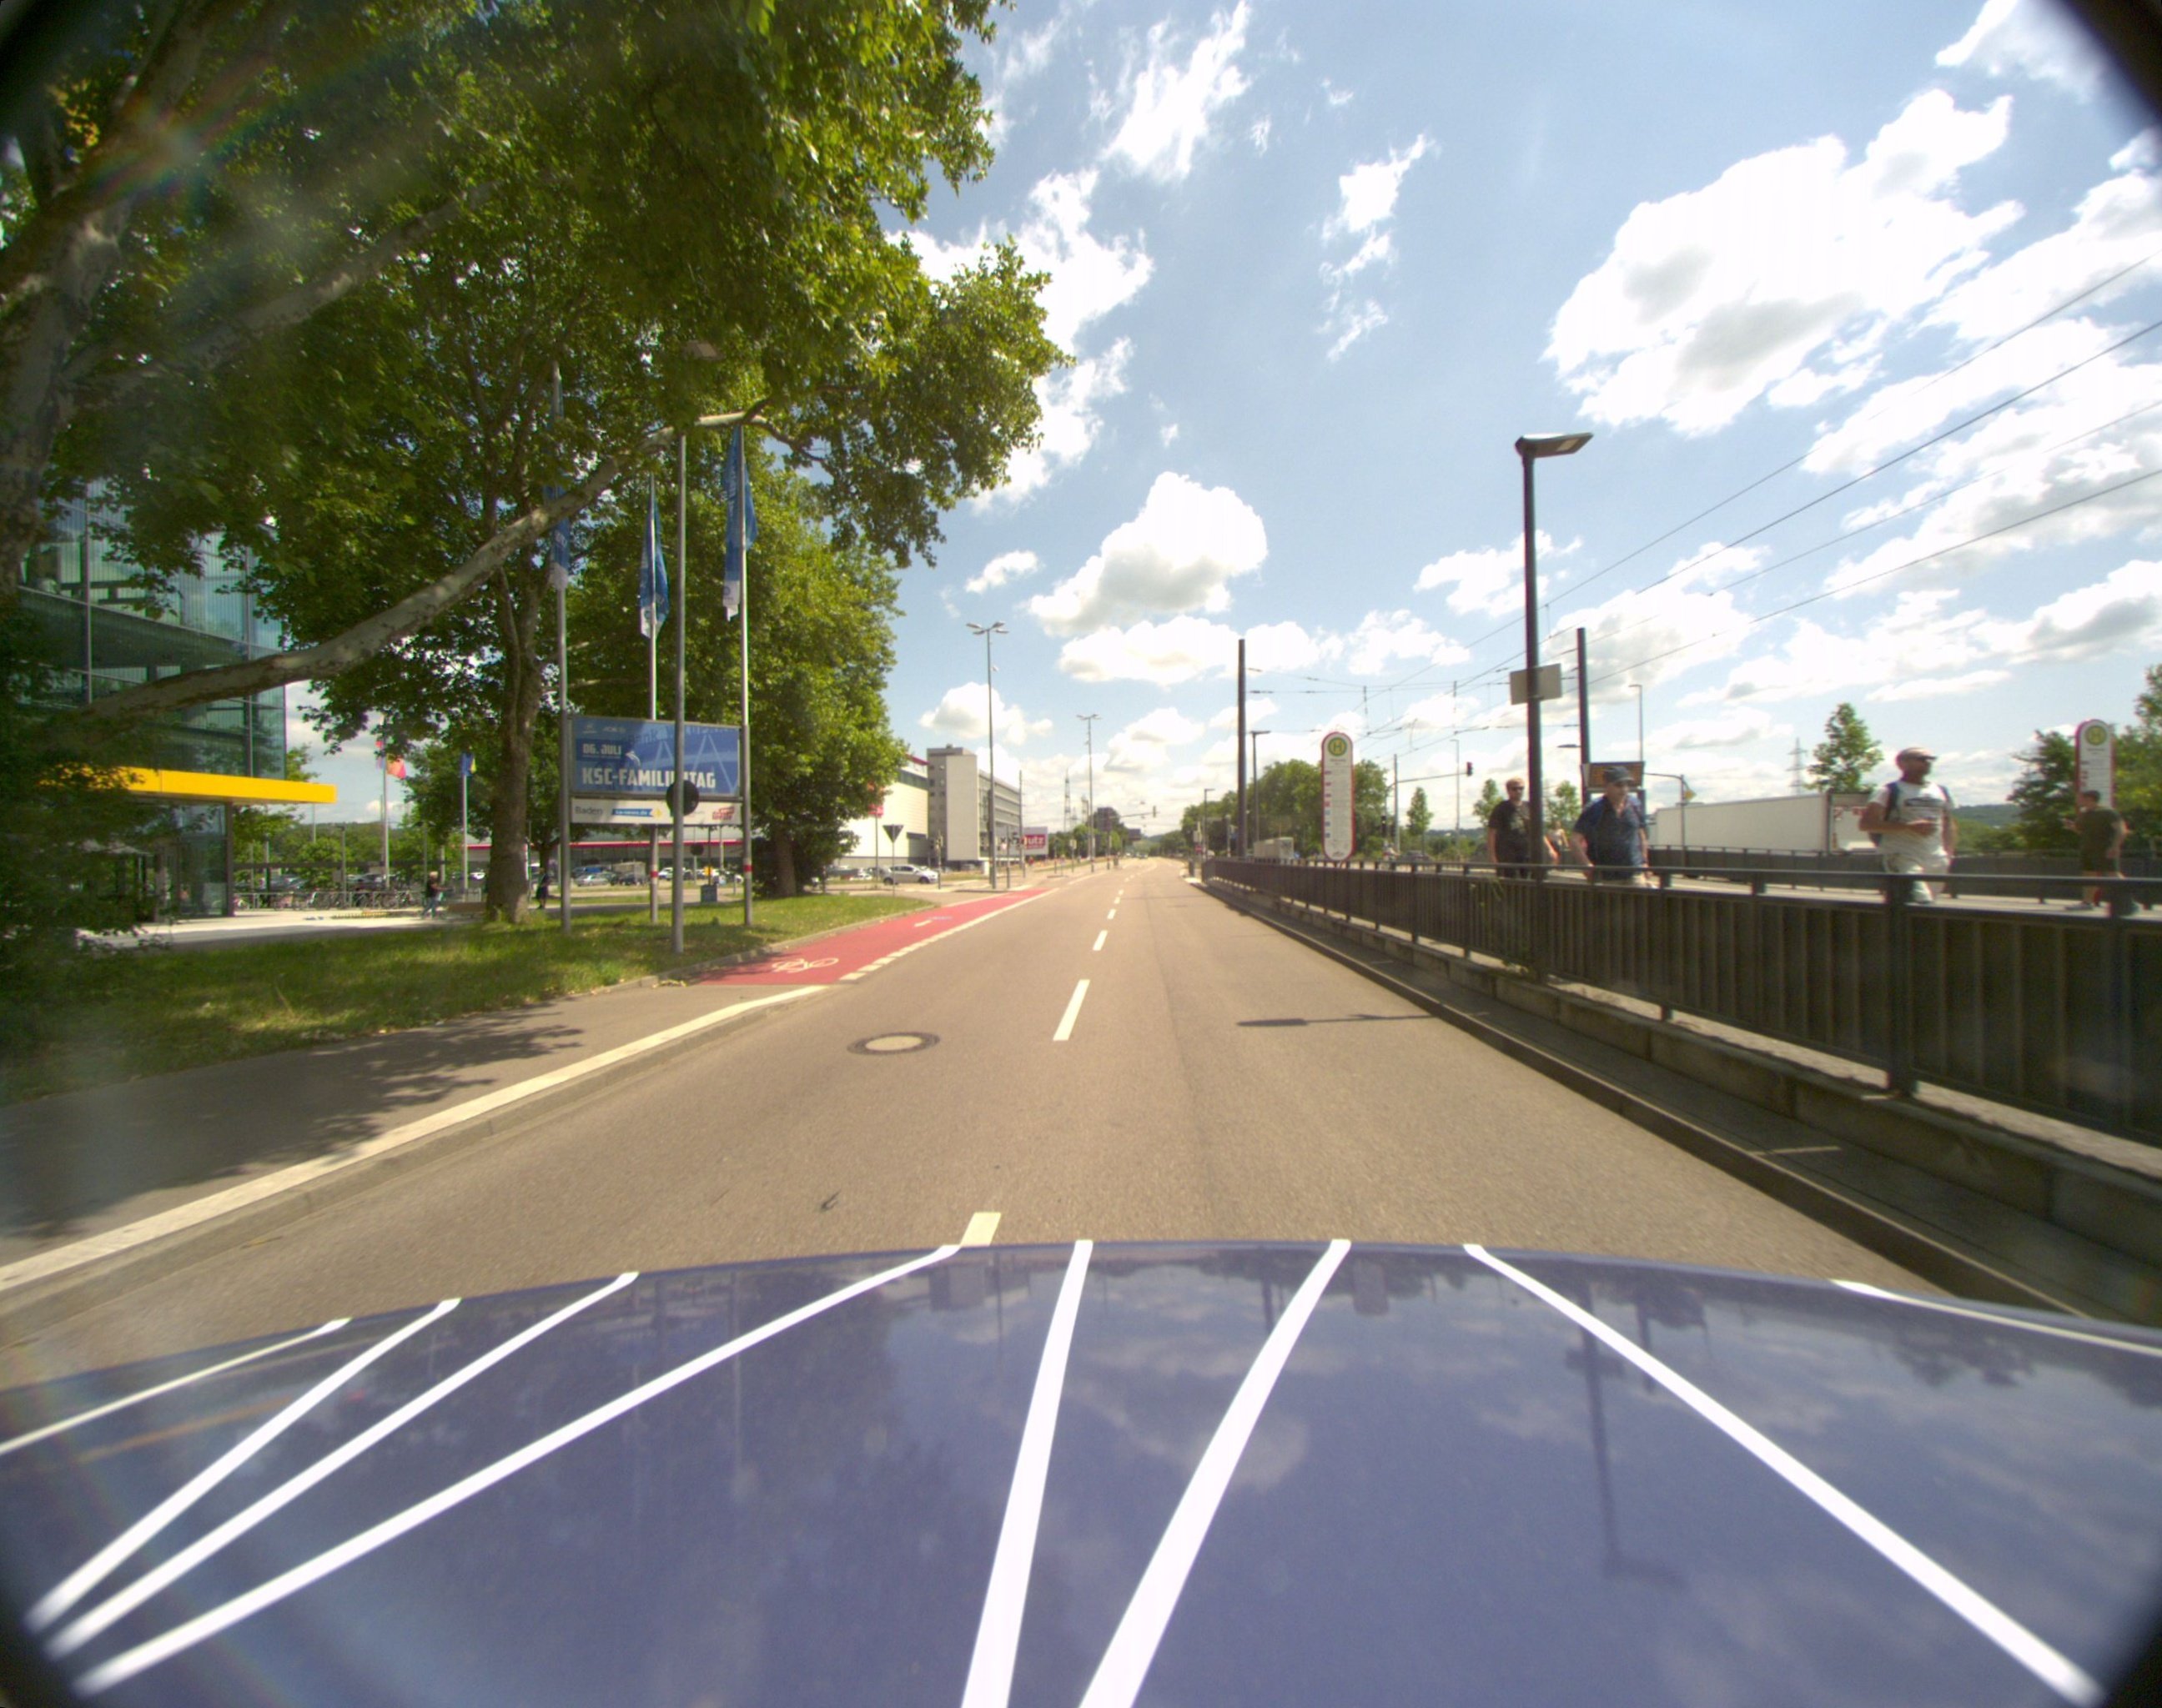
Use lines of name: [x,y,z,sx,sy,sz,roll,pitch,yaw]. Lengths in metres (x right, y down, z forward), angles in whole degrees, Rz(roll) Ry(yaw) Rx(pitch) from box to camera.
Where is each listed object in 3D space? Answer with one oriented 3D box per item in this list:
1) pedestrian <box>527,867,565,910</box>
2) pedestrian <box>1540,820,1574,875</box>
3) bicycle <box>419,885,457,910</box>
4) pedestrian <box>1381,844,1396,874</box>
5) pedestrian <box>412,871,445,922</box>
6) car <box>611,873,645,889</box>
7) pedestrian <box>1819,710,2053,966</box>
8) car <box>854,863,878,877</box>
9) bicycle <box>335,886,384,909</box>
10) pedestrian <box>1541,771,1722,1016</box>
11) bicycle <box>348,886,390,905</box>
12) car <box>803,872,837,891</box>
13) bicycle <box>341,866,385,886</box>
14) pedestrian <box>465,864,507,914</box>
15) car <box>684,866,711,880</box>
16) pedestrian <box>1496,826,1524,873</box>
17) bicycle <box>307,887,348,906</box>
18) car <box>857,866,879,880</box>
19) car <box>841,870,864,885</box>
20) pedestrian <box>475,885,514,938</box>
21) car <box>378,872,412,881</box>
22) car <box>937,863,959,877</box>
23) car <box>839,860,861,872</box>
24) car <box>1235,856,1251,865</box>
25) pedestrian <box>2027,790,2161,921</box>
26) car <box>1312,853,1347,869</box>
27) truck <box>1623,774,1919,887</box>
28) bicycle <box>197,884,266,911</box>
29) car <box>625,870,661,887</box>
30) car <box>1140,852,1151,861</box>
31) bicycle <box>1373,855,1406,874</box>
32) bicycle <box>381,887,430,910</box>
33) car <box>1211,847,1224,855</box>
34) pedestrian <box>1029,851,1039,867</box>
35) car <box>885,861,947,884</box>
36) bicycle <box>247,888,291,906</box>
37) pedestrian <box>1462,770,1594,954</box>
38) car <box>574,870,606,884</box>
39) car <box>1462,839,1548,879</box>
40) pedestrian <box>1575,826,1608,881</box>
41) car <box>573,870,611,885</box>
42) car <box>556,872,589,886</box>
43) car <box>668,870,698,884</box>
pedestrian: [-24.471,1.557,34.772,0.972,1.891,1.012,-1,0,20]
pedestrian: [15.479,-0.210,24.725,0.636,1.738,0.678,-3,0,8]
bicycle: [-30.896,2.072,36.519,0.504,1.101,1.924,1,-1,-12]
pedestrian: [18.524,0.291,45.802,0.671,1.758,0.613,-2,0,7]
pedestrian: [-24.376,1.562,28.407,0.889,1.874,0.971,0,-1,-39]
car: [-61.042,3.598,102.365,1.841,1.978,4.086,-1,1,5]
pedestrian: [6.533,-0.109,5.872,0.735,1.796,0.930,-2,0,5]
car: [-32.422,2.378,114.660,1.998,1.977,4.629,-1,-1,4]
bicycle: [-34.476,2.087,36.322,0.464,0.989,1.868,-2,0,2]
pedestrian: [4.234,0.293,5.927,0.735,1.745,0.930,-2,0,5]
bicycle: [-40.509,2.360,43.239,0.423,1.028,1.869,-2,-1,8]
car: [-30.279,3.158,88.273,1.998,1.977,4.365,-1,-1,5]
bicycle: [-36.416,1.118,38.578,0.423,0.988,1.869,0,-2,2]
pedestrian: [-25.333,1.470,32.375,0.972,2.060,1.012,-1,0,20]
car: [-59.176,2.974,117.256,1.775,2.002,4.002,-2,0,6]
pedestrian: [16.078,-0.153,28.479,0.729,1.711,0.525,-2,-1,10]
bicycle: [-43.062,2.430,43.437,0.423,0.988,1.868,0,-1,2]
car: [-31.878,2.885,113.871,1.998,2.001,4.001,-2,-1,3]
car: [-31.359,3.225,104.501,1.999,1.977,5.307,-1,-1,-6]
pedestrian: [-18.625,1.812,24.141,0.718,1.653,0.594,2,-1,10]
car: [-110.971,3.626,122.916,1.678,1.461,3.836,-2,-1,8]
car: [-19.909,2.414,113.901,2.247,1.977,4.365,-1,-1,5]
car: [-39.721,2.008,130.600,1.997,1.977,4.089,-1,-1,7]
car: [29.682,1.181,139.315,1.812,1.648,4.322,3,0,-1]
pedestrian: [14.703,0.021,11.032,0.735,1.796,0.930,-2,0,5]
car: [29.582,0.840,90.561,1.885,1.763,4.663,-1,-1,-11]
truck: [29.881,-0.857,34.200,2.949,4.080,12.000,-2,0,4]
bicycle: [-41.602,2.123,37.256,0.719,1.222,2.150,-2,-2,16]
car: [-58.663,3.247,101.923,1.998,1.977,4.364,-1,0,5]
car: [14.548,0.548,170.931,1.997,2.001,4.004,-2,-1,13]
bicycle: [18.570,0.647,45.803,1.720,1.081,0.621,-2,0,8]
bicycle: [-32.148,2.105,36.193,0.423,0.988,1.869,-2,-1,8]
car: [32.273,-0.785,179.204,1.995,1.797,5.143,-2,-1,23]
pedestrian: [-5.606,0.570,90.384,0.868,1.827,0.796,-2,3,-22]
car: [-11.596,1.281,53.616,3.829,1.461,1.900,-2,1,3]
bicycle: [-46.406,2.467,43.440,0.423,0.988,1.869,0,-2,2]
pedestrian: [4.986,0.098,8.550,0.875,1.927,0.995,-2,-1,4]
car: [-76.877,3.582,119.021,1.998,1.977,4.365,-1,-1,5]
car: [20.849,0.260,37.641,1.998,1.809,4.669,-1,-1,6]
pedestrian: [16.401,-0.013,24.426,0.600,1.711,0.709,-2,-1,8]
car: [-65.801,3.146,102.396,1.998,1.977,4.365,-1,-1,5]
car: [-79.637,3.872,119.009,1.998,1.977,4.365,-1,-1,5]
car: [-61.575,3.537,117.610,1.998,1.977,4.365,-1,-1,5]
